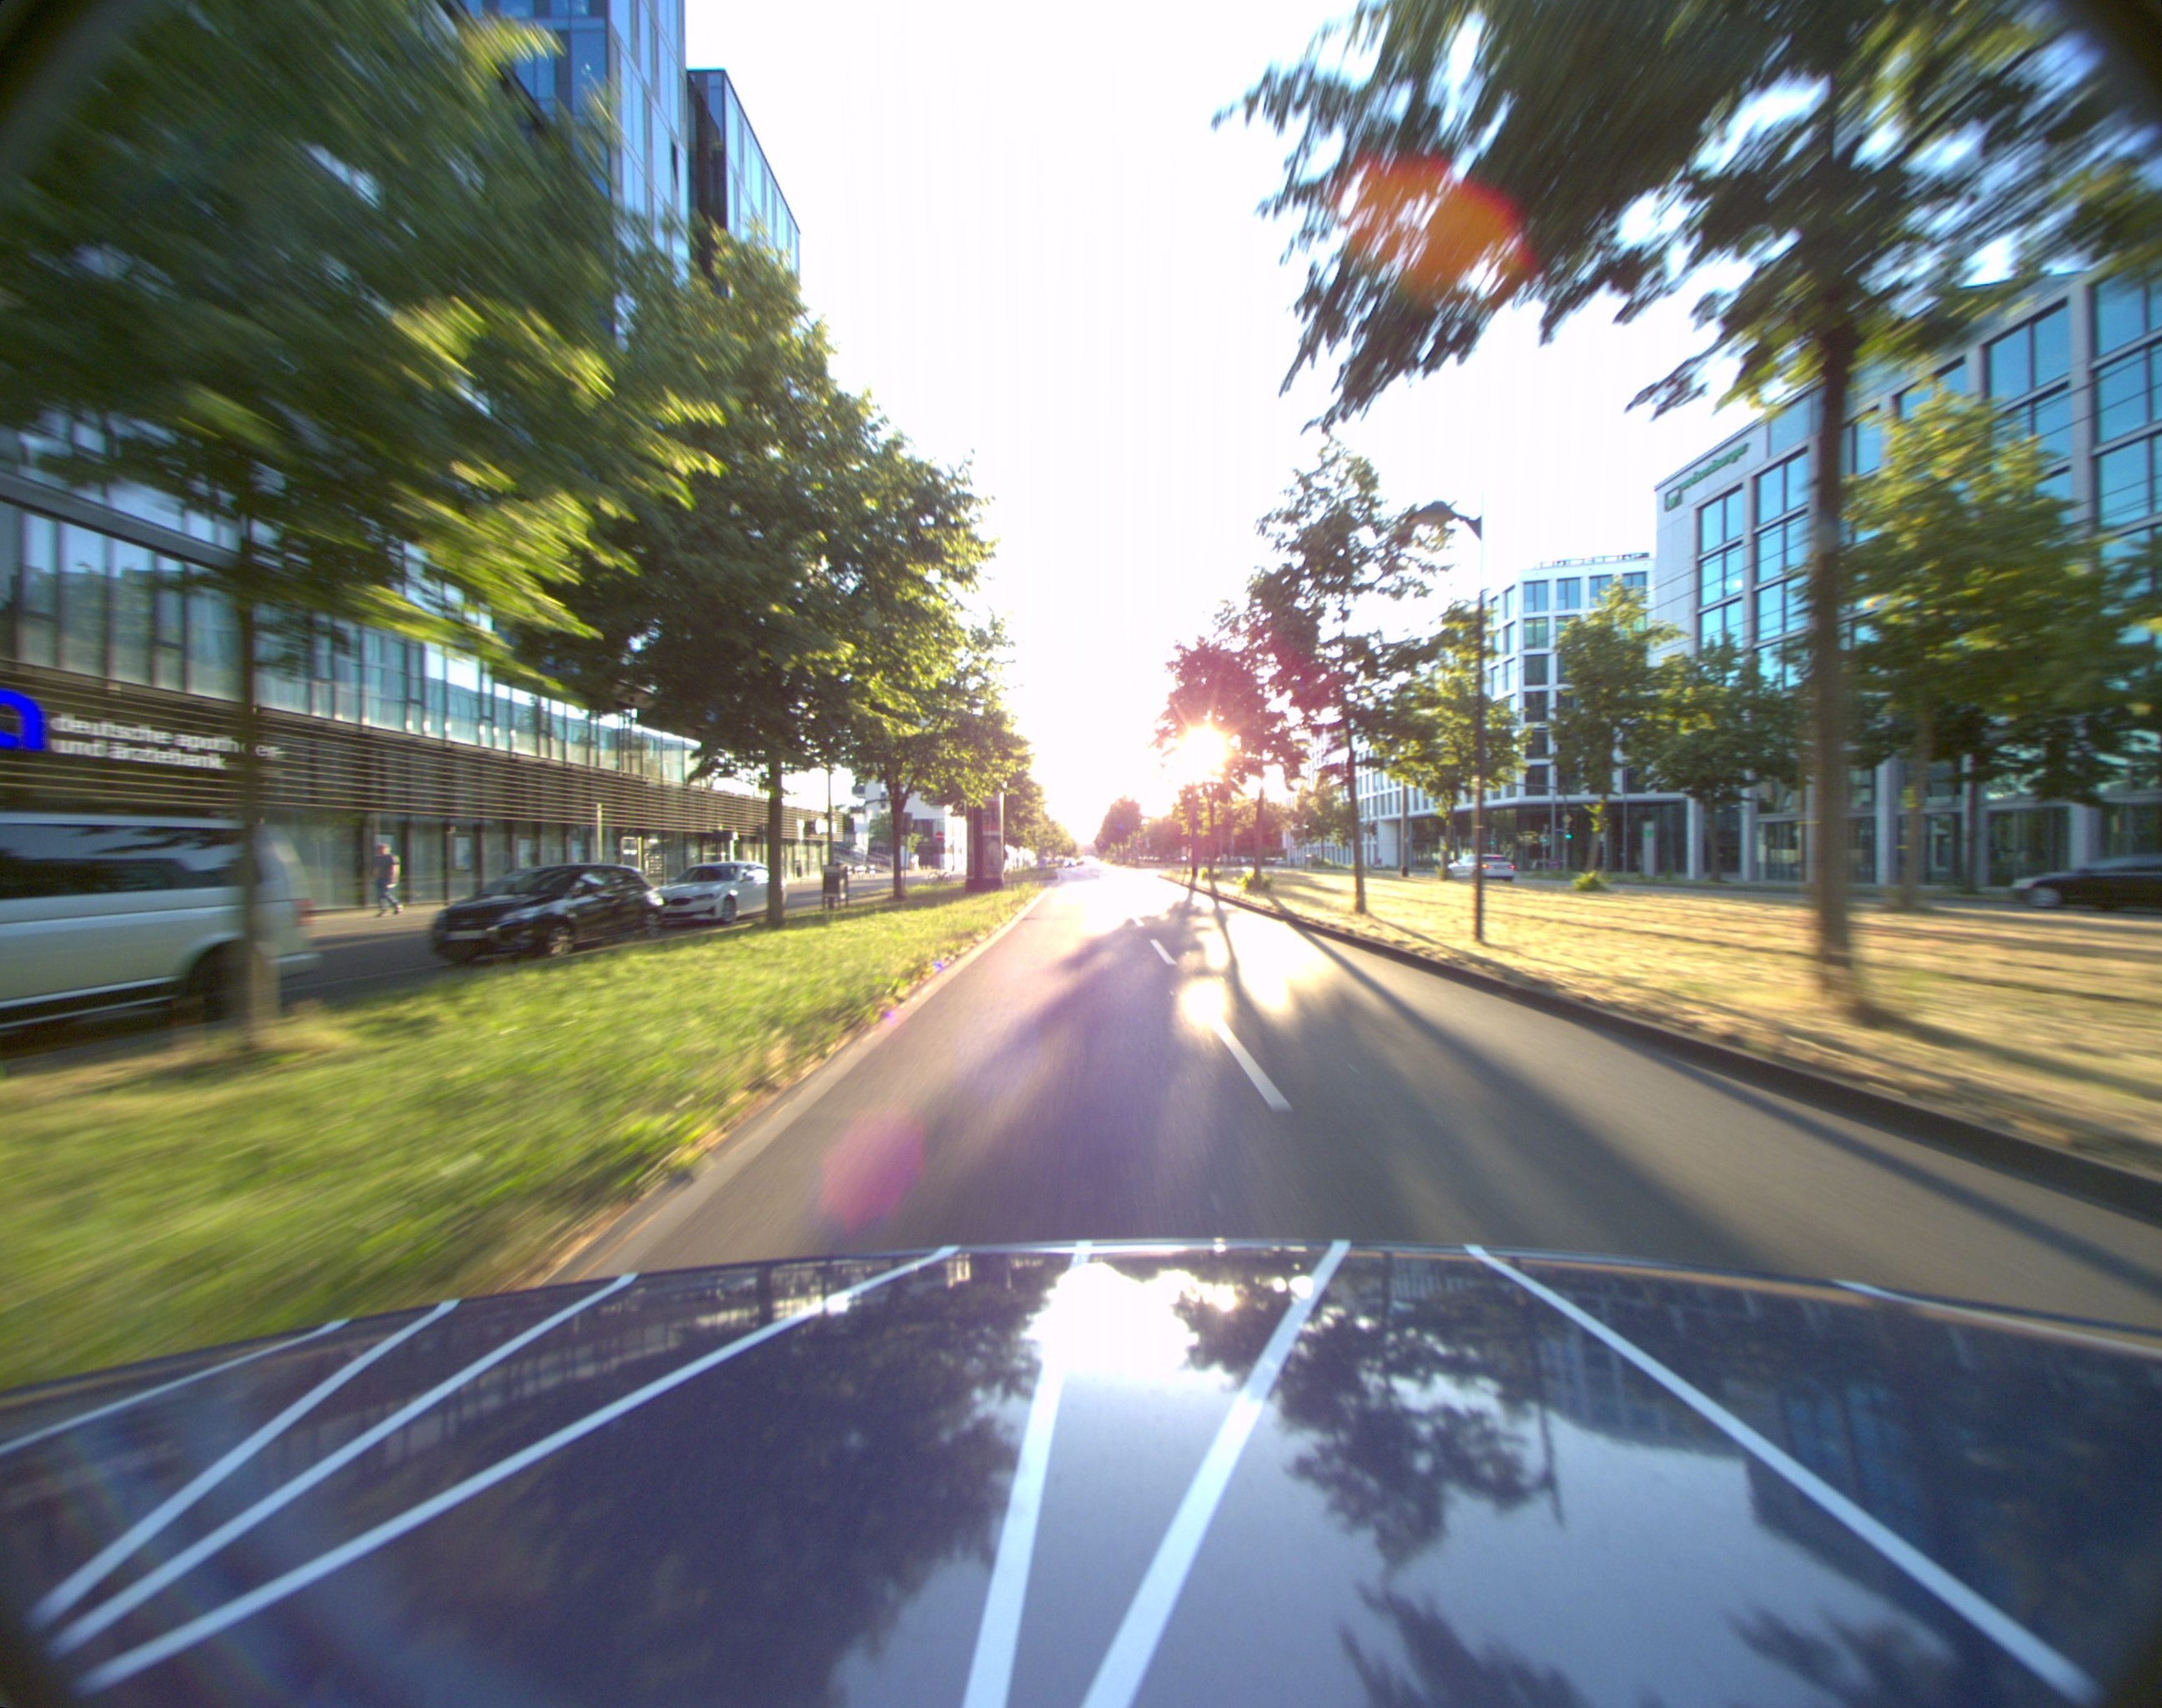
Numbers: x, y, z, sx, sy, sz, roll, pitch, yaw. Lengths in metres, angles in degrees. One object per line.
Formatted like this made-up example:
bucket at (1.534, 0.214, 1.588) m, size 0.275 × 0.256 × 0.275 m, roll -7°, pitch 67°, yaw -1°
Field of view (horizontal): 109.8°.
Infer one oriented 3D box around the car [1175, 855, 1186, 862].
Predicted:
car at (23.966, 1.081, 182.746) m, size 1.998 × 1.426 × 4.898 m, roll -1°, pitch 0°, yaw 0°

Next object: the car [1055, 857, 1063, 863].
car at (-6.080, 1.576, 209.882) m, size 1.998 × 1.594 × 4.000 m, roll -1°, pitch 0°, yaw 0°

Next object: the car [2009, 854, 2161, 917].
car at (25.503, 0.722, 17.900) m, size 1.936 × 1.414 × 4.388 m, roll 0°, pitch 0°, yaw 1°

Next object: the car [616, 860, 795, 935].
car at (-8.928, 0.944, 18.689) m, size 1.922 × 1.488 × 5.040 m, roll -1°, pitch 0°, yaw -1°

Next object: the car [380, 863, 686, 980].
car at (-8.695, 0.958, 12.651) m, size 1.864 × 1.488 × 4.290 m, roll -2°, pitch 0°, yaw 1°

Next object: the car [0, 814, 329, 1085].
car at (-8.877, 0.700, 5.469) m, size 1.991 × 1.977 × 4.932 m, roll 0°, pitch 0°, yaw 0°

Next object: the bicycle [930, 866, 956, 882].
bicycle at (-7.960, 1.123, 43.813) m, size 1.718 × 0.905 × 0.363 m, roll -1°, pitch 0°, yaw 34°

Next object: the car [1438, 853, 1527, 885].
car at (19.906, 0.706, 37.922) m, size 1.907 × 1.477 × 4.630 m, roll 0°, pitch 0°, yaw -1°

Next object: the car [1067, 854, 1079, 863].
car at (-1.350, 0.711, 126.776) m, size 1.998 × 1.473 × 4.335 m, roll -1°, pitch 0°, yaw 0°

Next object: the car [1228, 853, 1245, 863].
car at (23.989, 0.651, 117.324) m, size 1.645 × 1.440 × 3.999 m, roll -1°, pitch 0°, yaw -1°

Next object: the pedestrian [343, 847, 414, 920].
pedestrian at (-17.634, 0.731, 19.092) m, size 0.899 × 1.786 × 0.912 m, roll 0°, pitch 1°, yaw -1°

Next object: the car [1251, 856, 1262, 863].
car at (40.731, 1.347, 176.321) m, size 1.997 × 1.583 × 4.338 m, roll -1°, pitch 0°, yaw 7°
